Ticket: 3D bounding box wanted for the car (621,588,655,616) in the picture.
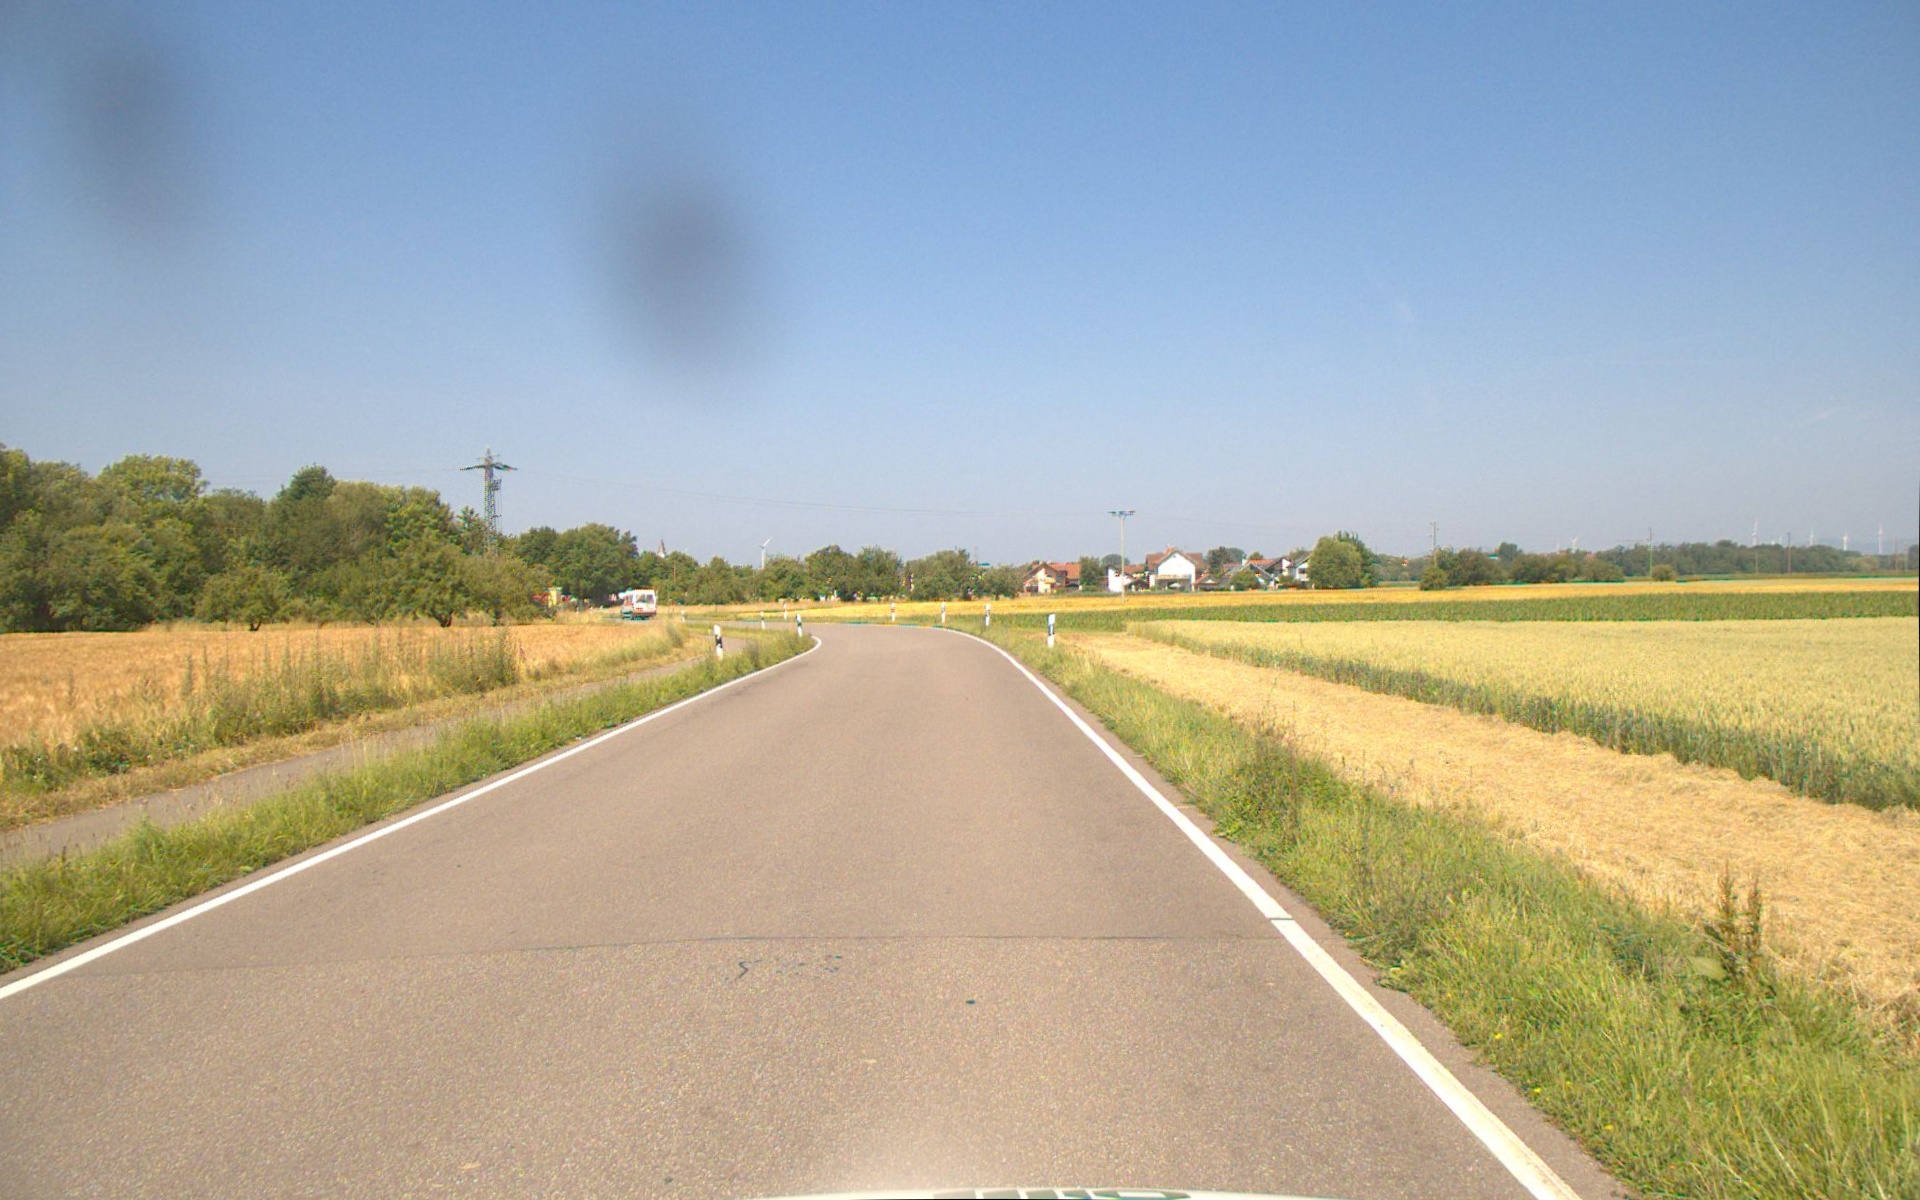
[{"bbox_3d":[-27.099,0.164,139.106,1.966,2.306,4.694,-1,0,-22],"label":"car"}]
